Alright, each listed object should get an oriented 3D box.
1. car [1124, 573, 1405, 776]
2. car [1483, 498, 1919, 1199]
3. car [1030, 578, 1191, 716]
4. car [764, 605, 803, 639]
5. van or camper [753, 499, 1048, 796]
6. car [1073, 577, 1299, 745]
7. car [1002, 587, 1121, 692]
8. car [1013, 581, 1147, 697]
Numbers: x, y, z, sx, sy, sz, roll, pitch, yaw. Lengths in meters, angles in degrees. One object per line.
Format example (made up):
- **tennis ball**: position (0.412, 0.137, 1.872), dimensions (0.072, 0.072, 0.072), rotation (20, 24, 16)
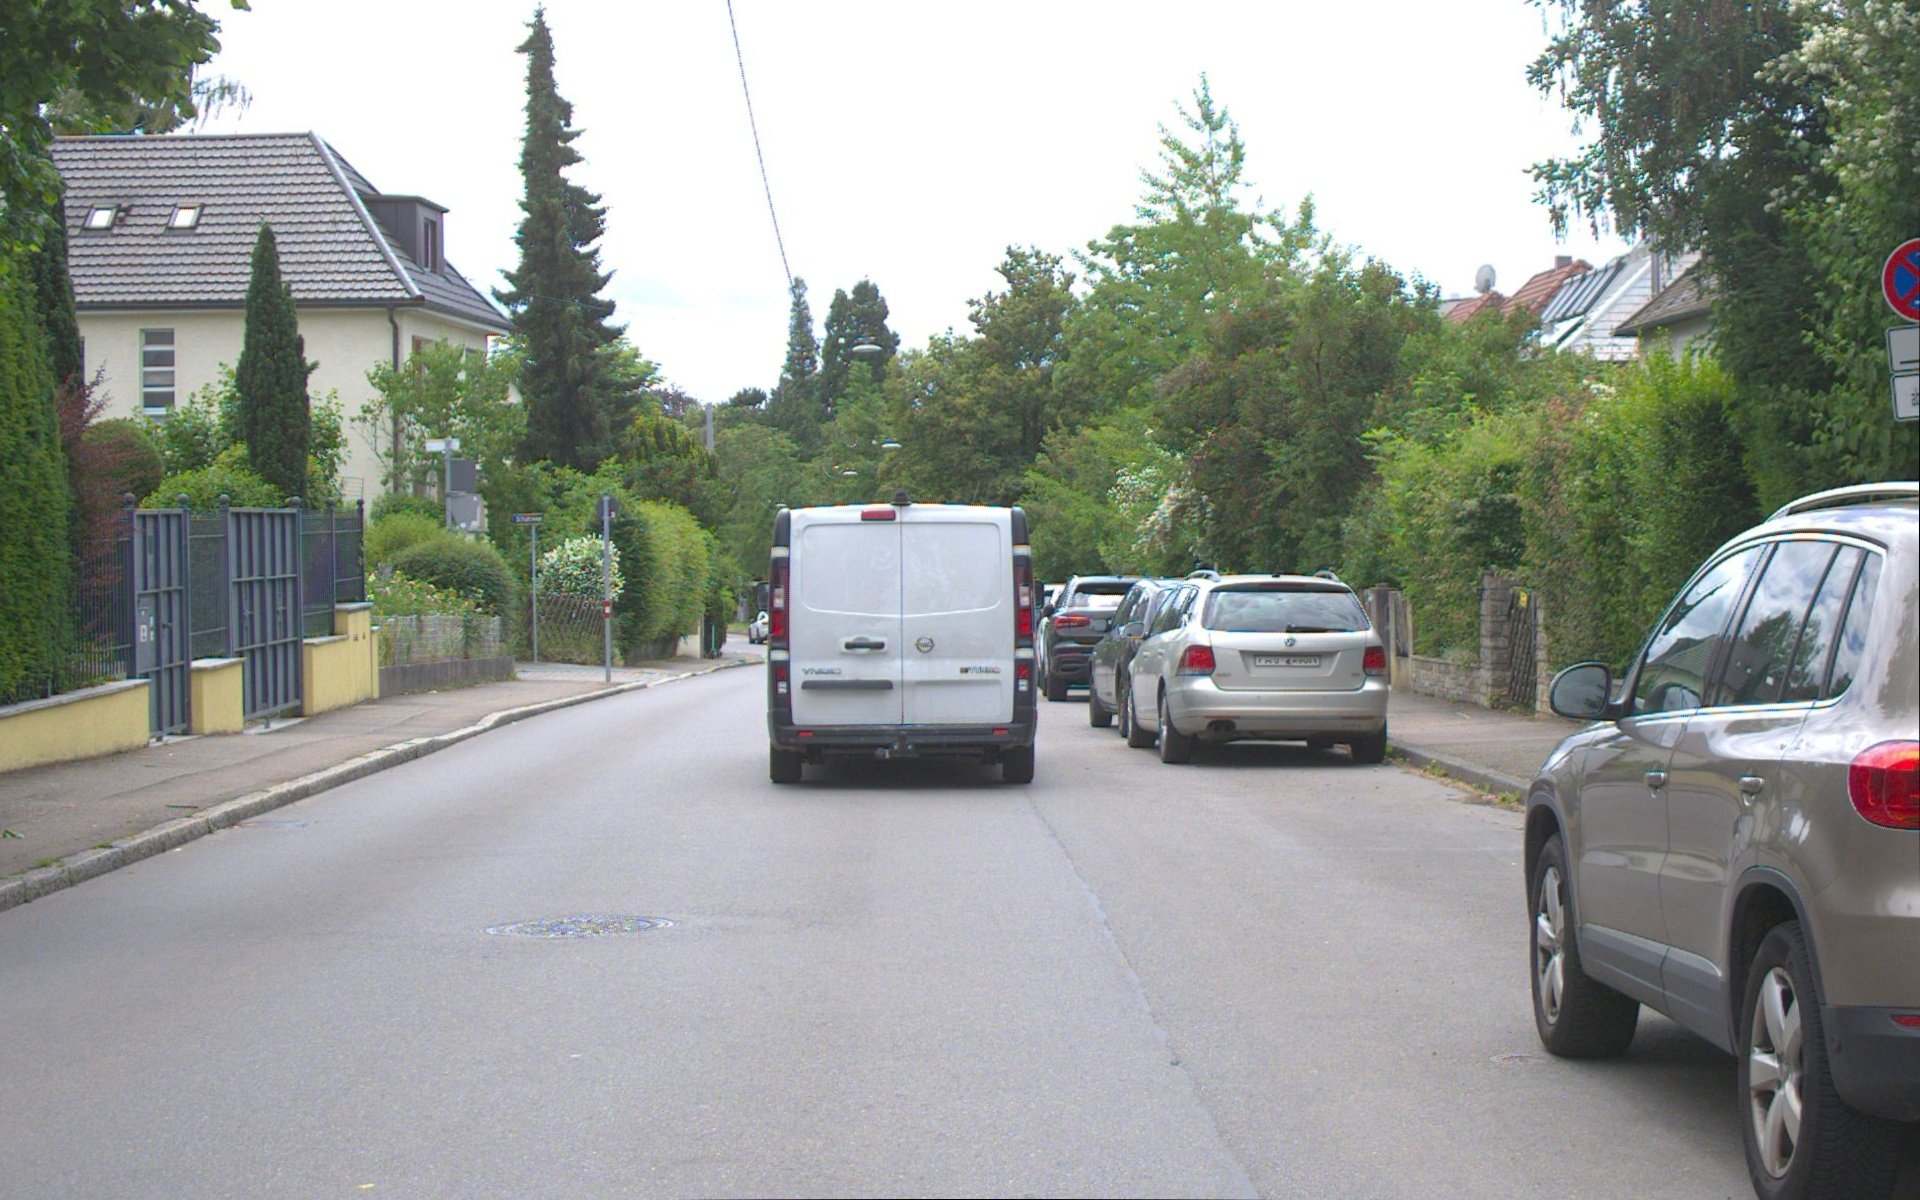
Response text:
- **car**: position (2.353, 0.532, 27.525), dimensions (1.744, 1.442, 4.259), rotation (-1, 1, -2)
- **car**: position (2.600, 0.589, 8.851), dimensions (1.744, 1.669, 4.185), rotation (-1, 1, -2)
- **car**: position (1.879, 0.556, 44.018), dimensions (1.744, 1.624, 4.259), rotation (-1, 1, -2)
- **car**: position (-8.608, 1.060, 167.878), dimensions (1.744, 1.520, 4.012), rotation (-1, 1, -2)
- **van or camper**: position (-0.457, 0.307, 25.276), dimensions (1.939, 1.947, 4.765), rotation (1, 0, -1)
- **car**: position (2.092, 0.529, 32.880), dimensions (1.744, 1.442, 4.259), rotation (-1, 1, -2)
- **car**: position (1.670, 0.635, 57.771), dimensions (1.744, 1.624, 4.259), rotation (-1, 1, -2)
- **car**: position (1.783, 0.562, 52.239), dimensions (1.744, 1.624, 4.259), rotation (-1, 1, -2)
